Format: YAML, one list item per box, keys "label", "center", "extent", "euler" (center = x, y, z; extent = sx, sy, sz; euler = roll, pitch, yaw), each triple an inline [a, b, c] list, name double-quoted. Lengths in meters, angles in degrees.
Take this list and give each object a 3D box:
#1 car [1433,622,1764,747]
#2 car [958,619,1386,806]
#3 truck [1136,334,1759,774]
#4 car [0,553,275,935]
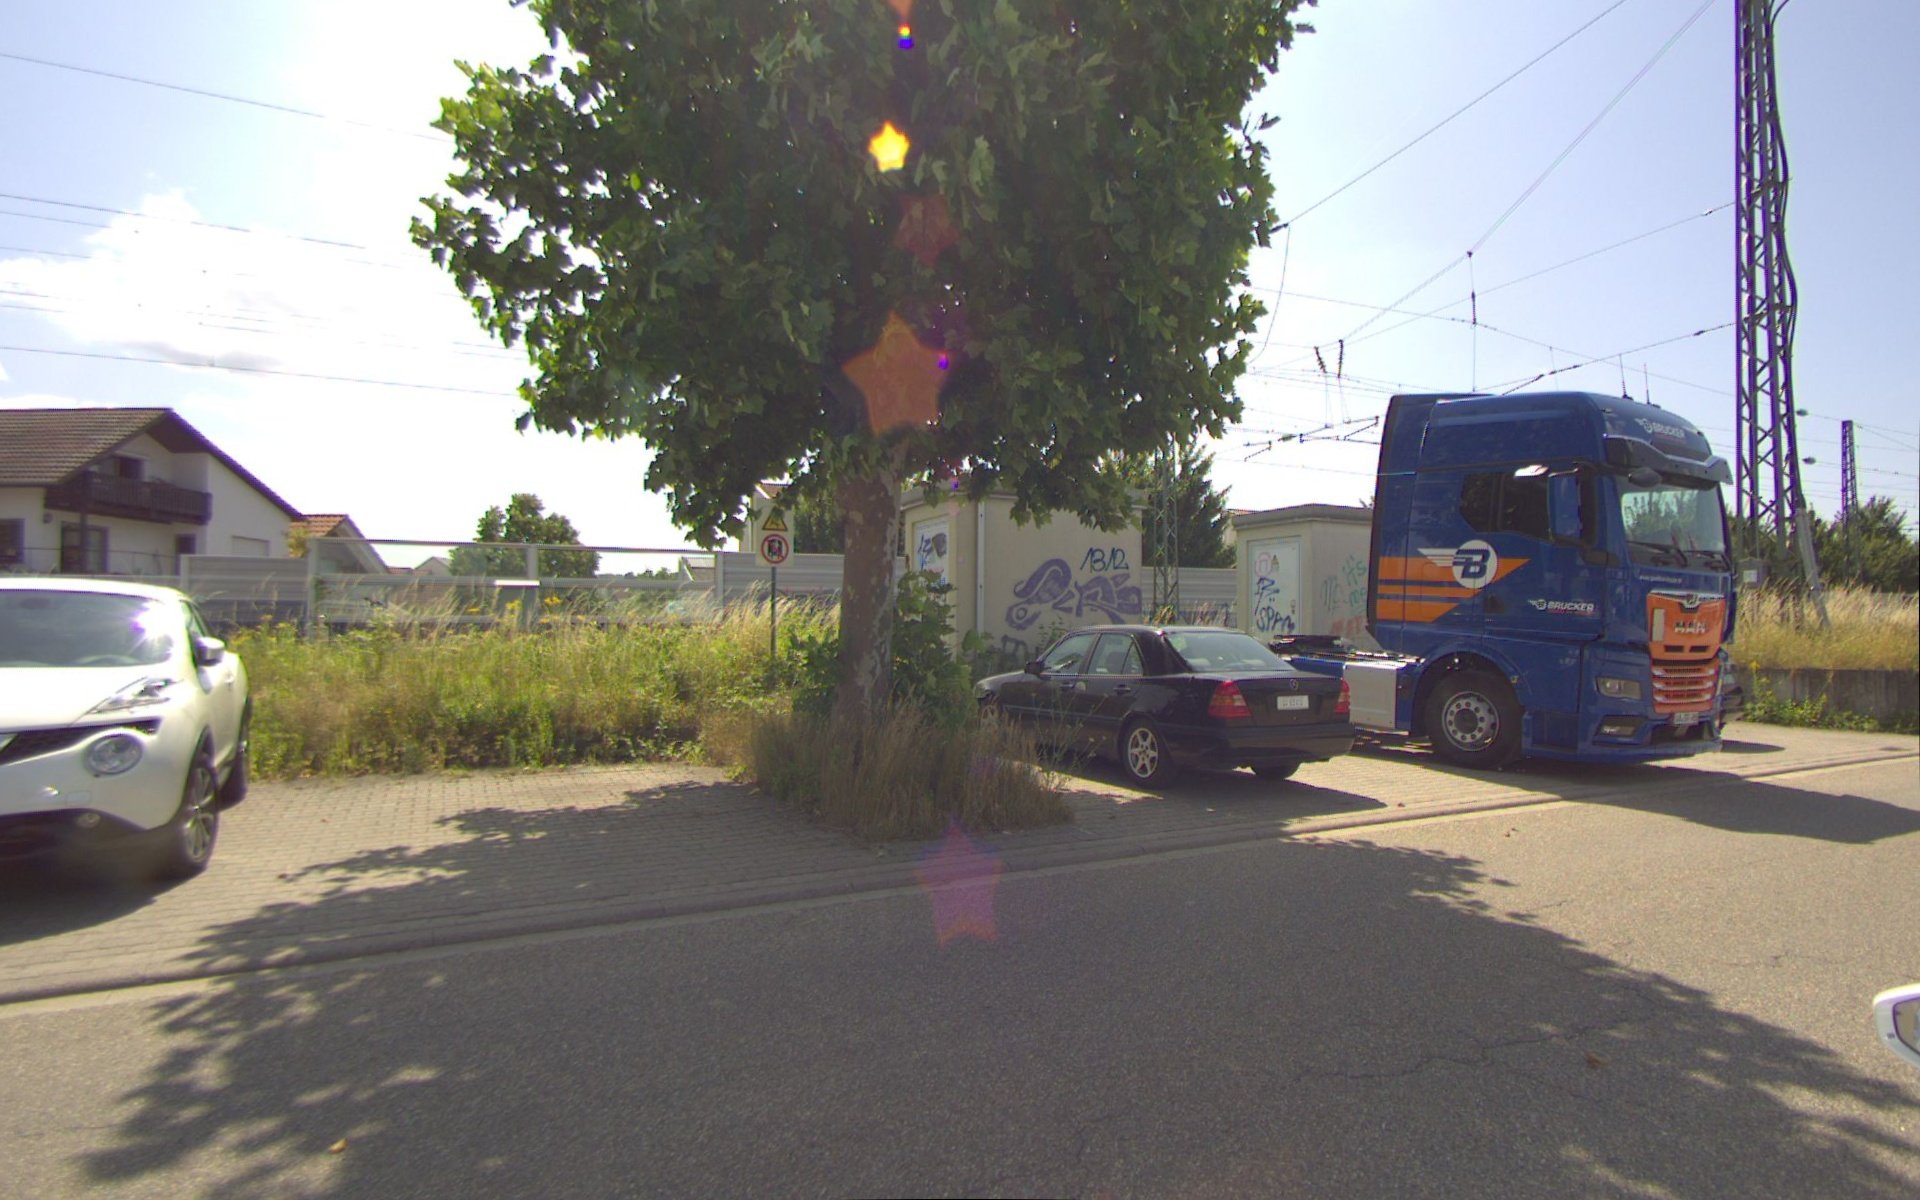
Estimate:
- label: "car"
  center: [8.908, 1.150, 14.304]
  extent: [1.681, 1.519, 3.624]
  euler: [4, -4, -31]
- label: "car"
  center: [1.816, 0.914, 9.943]
  extent: [1.850, 1.413, 4.189]
  euler: [2, -2, -30]
- label: "truck"
  center: [5.307, -0.288, 12.365]
  extent: [2.633, 3.873, 6.584]
  euler: [2, -2, -30]
- label: "car"
  center: [-5.289, 0.656, 5.915]
  extent: [1.830, 1.639, 3.950]
  euler: [1, -2, -31]
